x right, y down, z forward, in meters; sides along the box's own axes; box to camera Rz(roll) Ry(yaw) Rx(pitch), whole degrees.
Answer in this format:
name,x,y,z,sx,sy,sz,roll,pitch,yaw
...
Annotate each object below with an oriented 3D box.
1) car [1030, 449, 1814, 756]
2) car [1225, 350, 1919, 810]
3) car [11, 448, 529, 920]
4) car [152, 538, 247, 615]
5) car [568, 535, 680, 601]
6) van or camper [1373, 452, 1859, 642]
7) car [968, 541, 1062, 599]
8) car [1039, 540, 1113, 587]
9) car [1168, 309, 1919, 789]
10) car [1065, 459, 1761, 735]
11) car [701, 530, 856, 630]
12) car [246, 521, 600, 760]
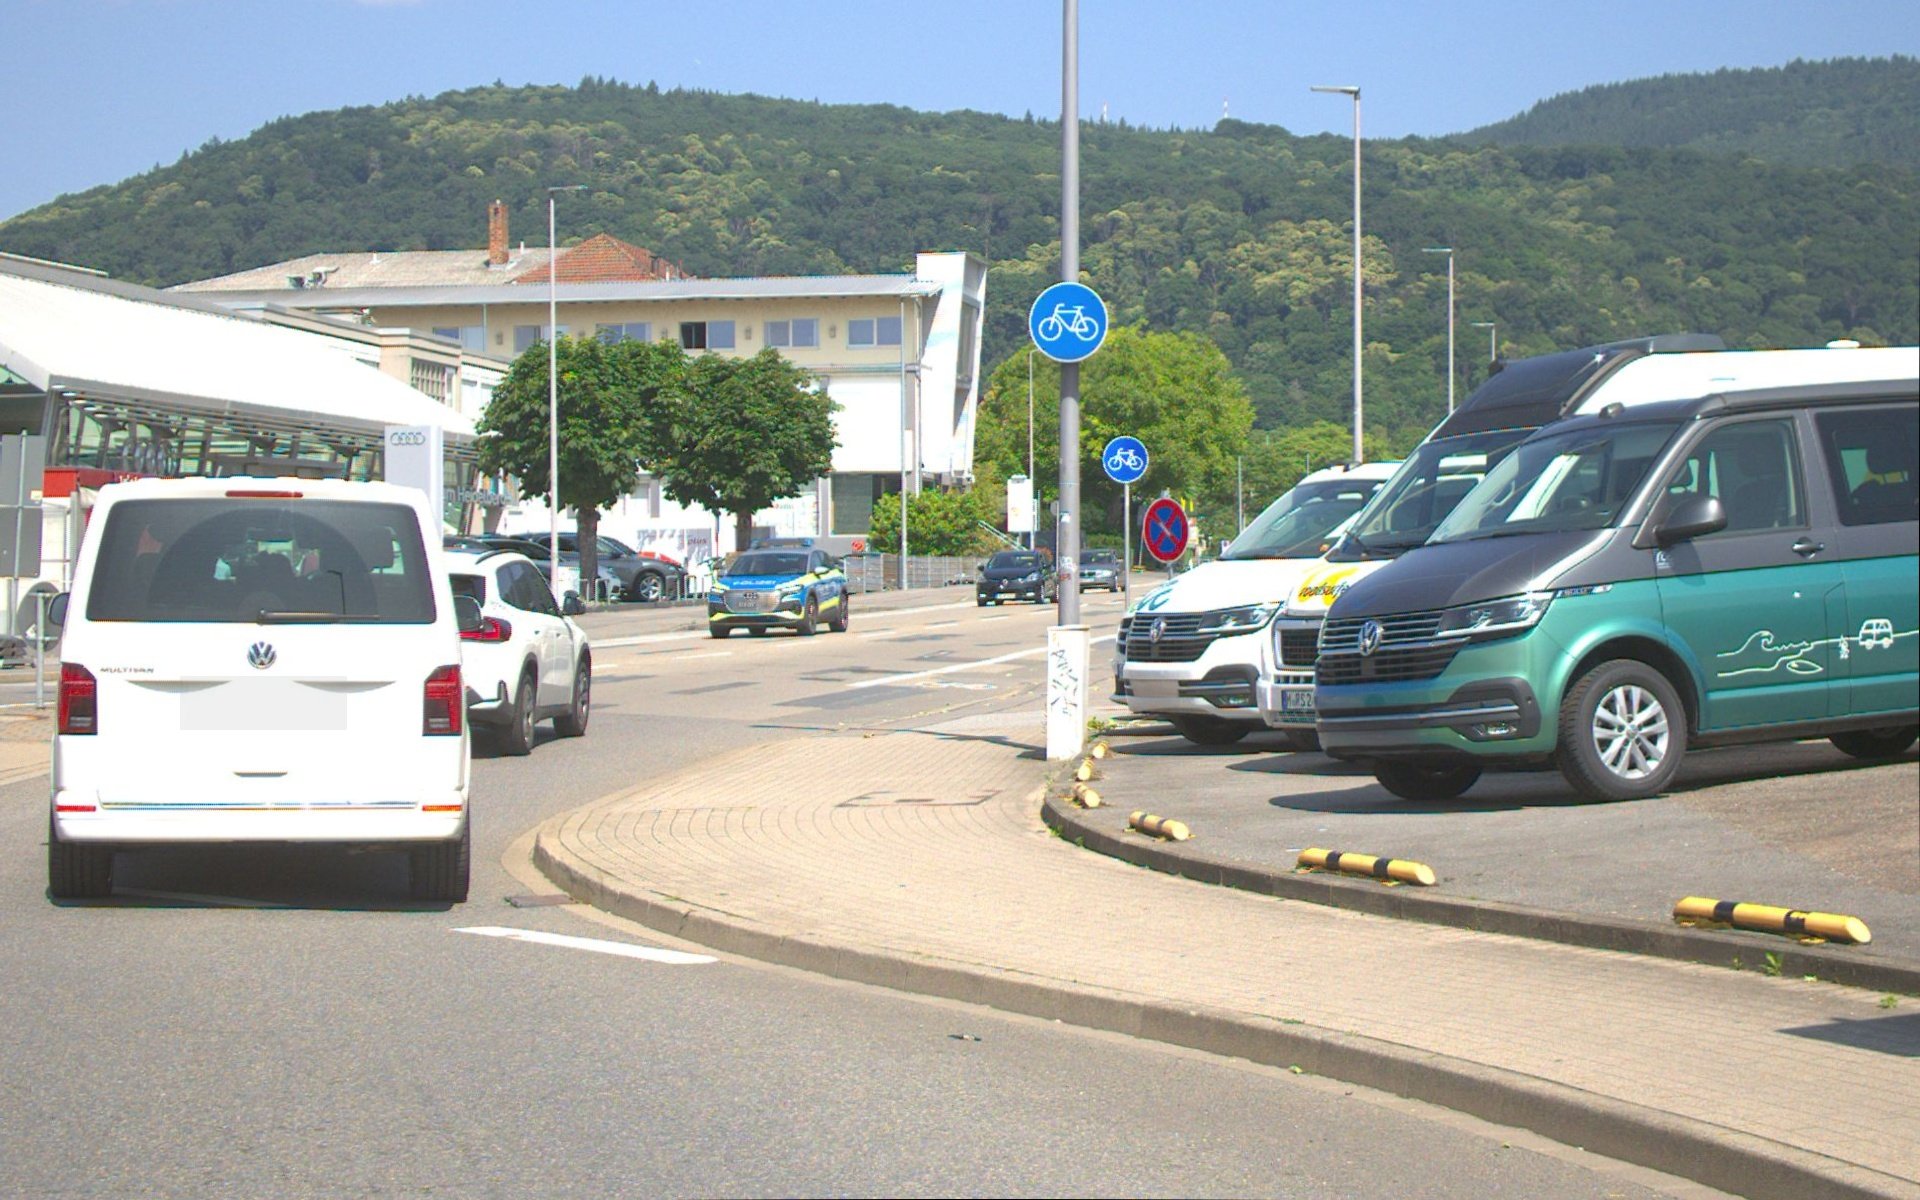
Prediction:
name,x,y,z,sx,sy,sz,roll,pitch,yaw
car,3.267,-0.024,24.267,5.141,1.993,2.025,-1,0,-23
car,4.154,-0.140,17.846,5.210,2.106,2.097,-1,1,-27
car,-3.392,0.362,17.377,2.161,2.007,5.019,1,0,-9
car,-15.834,-0.502,71.723,1.745,1.579,3.662,0,1,-10
car,-8.341,-0.797,85.132,1.745,1.579,3.662,0,1,-23
van or camper,9.207,-0.739,48.310,6.507,2.553,2.972,0,1,12
car,1.468,-0.806,90.067,1.842,1.459,3.998,0,1,10
car,3.716,-1.178,109.569,1.842,1.459,3.999,0,1,9
car,4.576,-0.348,21.727,6.136,2.707,2.307,-1,1,-25
car,3.594,-0.067,27.339,5.132,2.007,1.931,-1,1,-19
car,-3.269,-0.400,62.842,1.909,1.754,4.450,0,1,9
car,-4.324,0.264,28.297,1.994,1.701,4.000,3,2,4
